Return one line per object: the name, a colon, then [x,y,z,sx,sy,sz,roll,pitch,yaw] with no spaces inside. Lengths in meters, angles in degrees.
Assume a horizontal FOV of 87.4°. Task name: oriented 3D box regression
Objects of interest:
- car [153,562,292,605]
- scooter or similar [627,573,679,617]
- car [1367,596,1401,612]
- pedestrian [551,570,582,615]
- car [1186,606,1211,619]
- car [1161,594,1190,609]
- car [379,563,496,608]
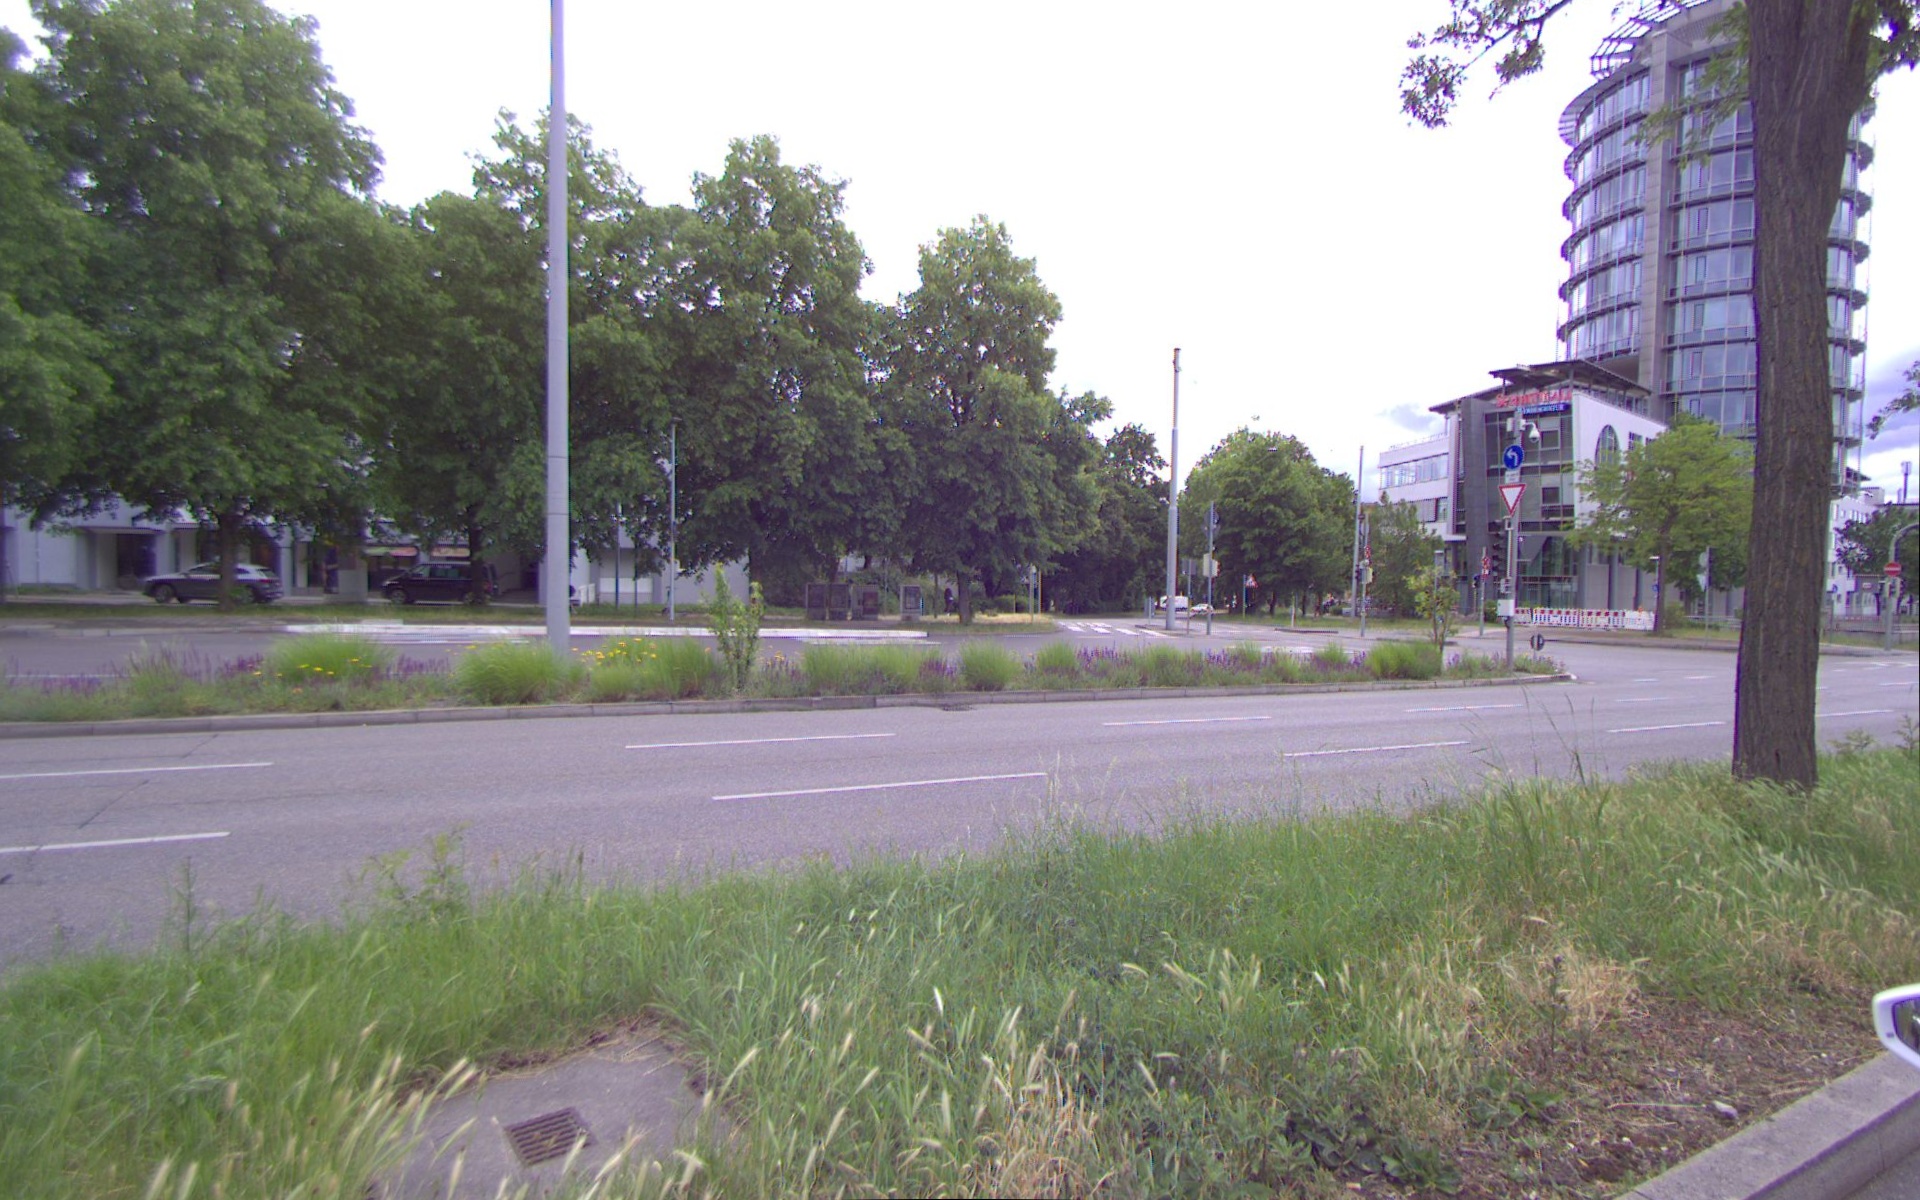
car: [-28.419,-0.622,38.853,3.936,1.532,1.753,1,1,-18]
scooter or similar: [-11.861,-0.188,38.859,1.835,1.686,0.645,1,1,-43]
car: [25.051,0.228,59.400,1.684,0.888,0.776,1,0,7]
pedestrian: [-14.156,-0.272,36.140,0.894,1.578,0.766,1,1,-30]
car: [39.081,2.086,164.660,1.705,2.040,3.963,1,1,-33]
car: [37.742,0.236,175.680,4.475,2.370,1.994,2,0,-16]
car: [-23.307,-0.643,44.957,4.345,1.872,1.781,1,1,-16]
